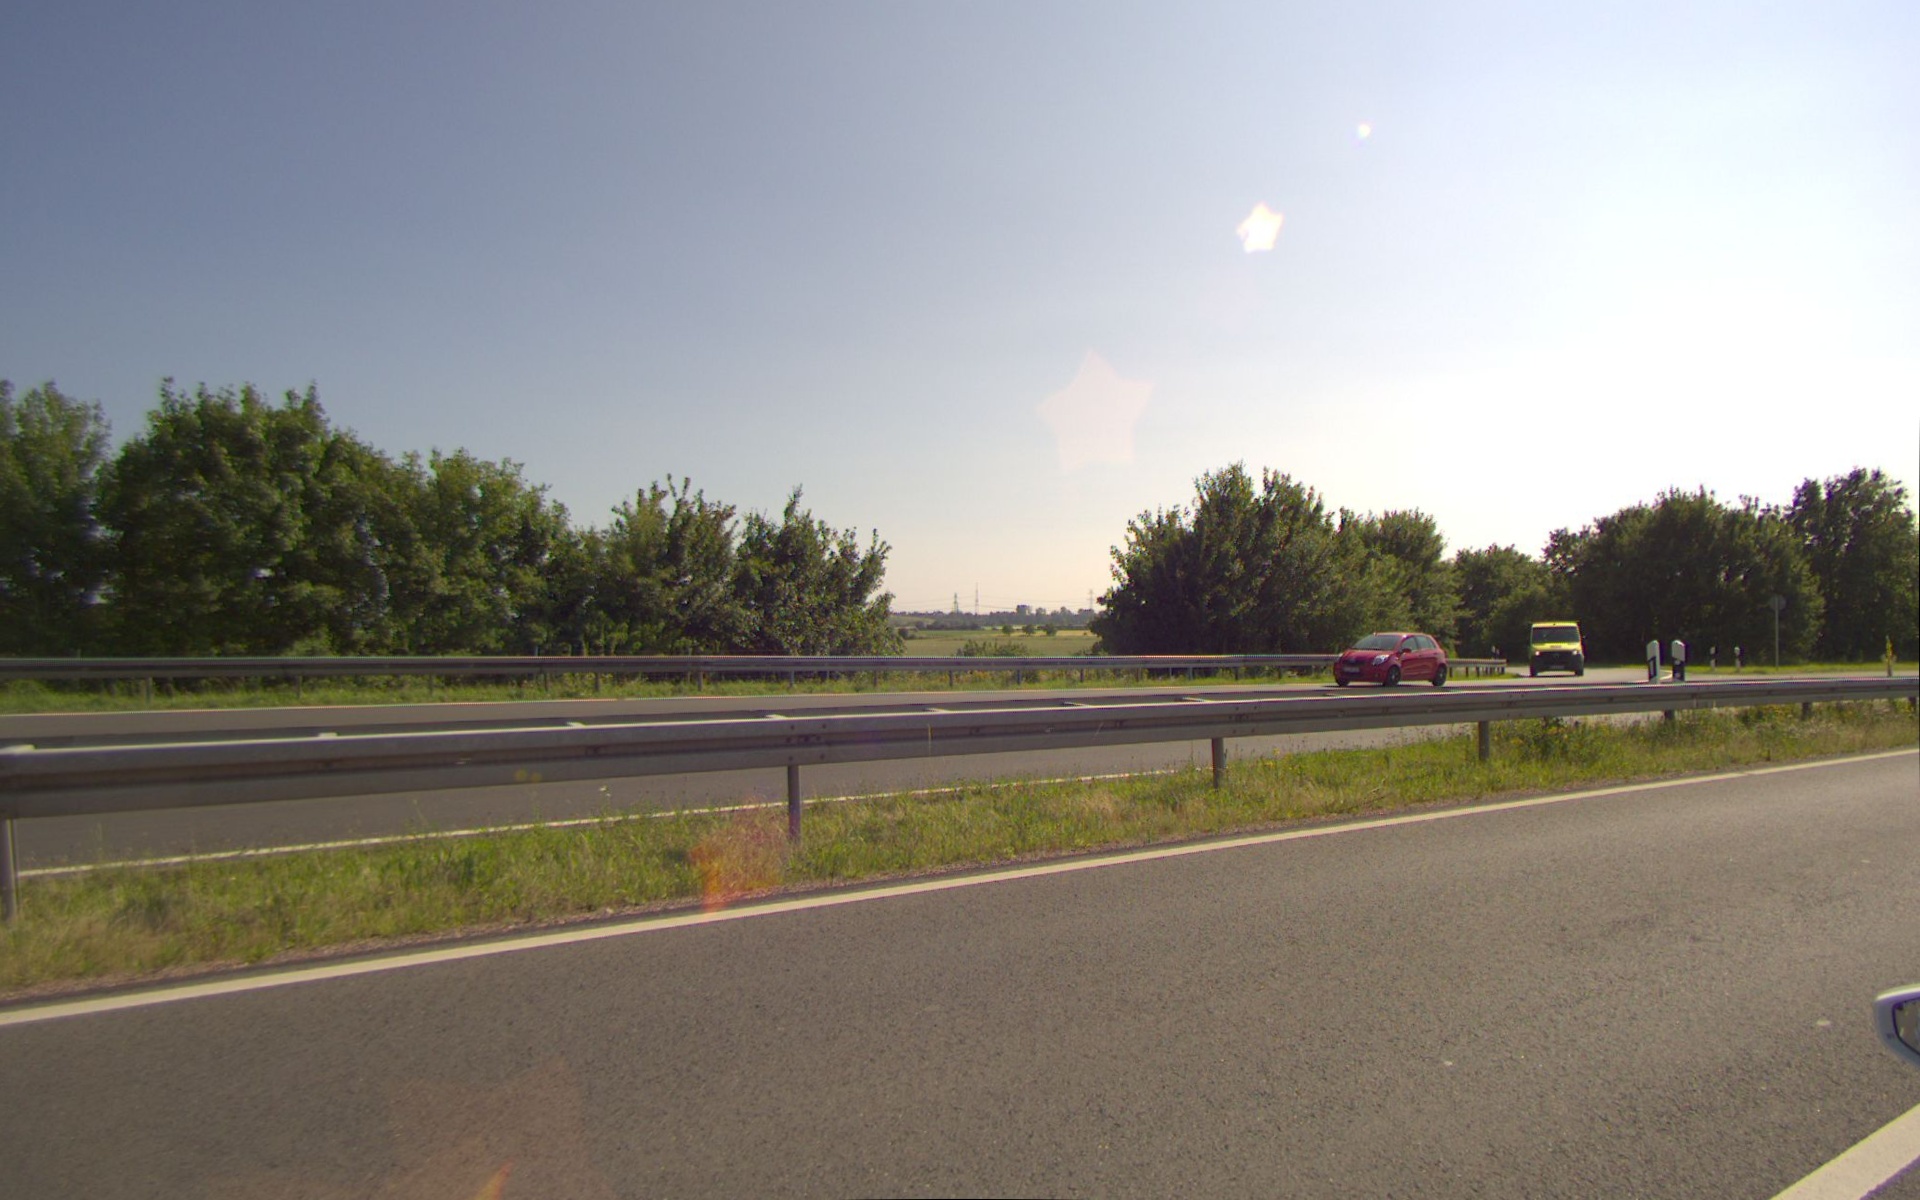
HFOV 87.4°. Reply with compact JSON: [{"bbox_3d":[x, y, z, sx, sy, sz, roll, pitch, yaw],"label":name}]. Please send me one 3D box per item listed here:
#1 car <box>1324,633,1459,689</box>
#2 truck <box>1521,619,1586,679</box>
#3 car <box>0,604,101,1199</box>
[{"bbox_3d":[12.197,1.664,28.336,3.962,1.465,1.773,1,-2,-36],"label":"car"},{"bbox_3d":[26.326,2.196,44.444,2.097,2.485,6.600,-2,-4,33],"label":"truck"},{"bbox_3d":[-4.121,0.686,1.244,4.361,1.456,1.701,2,-1,-31],"label":"car"}]
